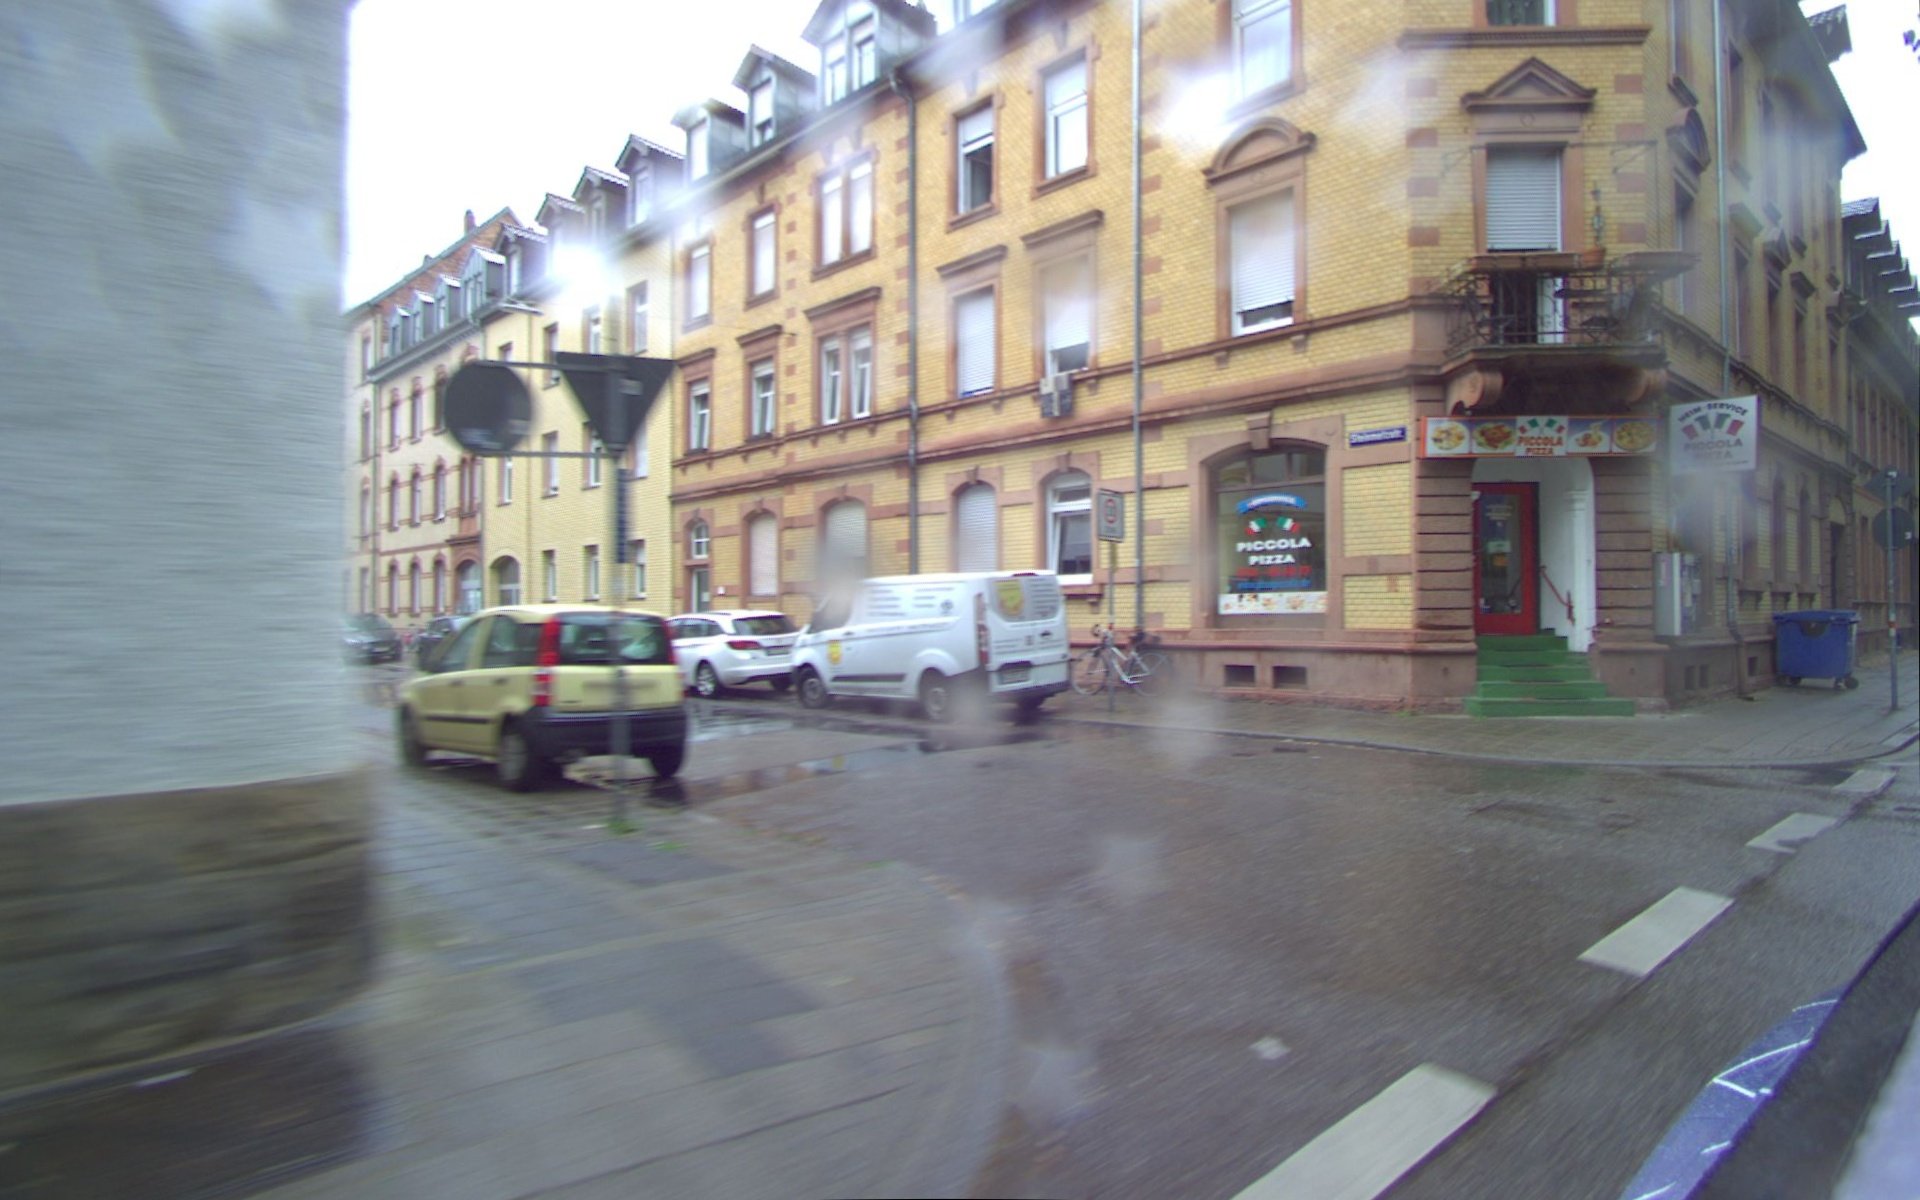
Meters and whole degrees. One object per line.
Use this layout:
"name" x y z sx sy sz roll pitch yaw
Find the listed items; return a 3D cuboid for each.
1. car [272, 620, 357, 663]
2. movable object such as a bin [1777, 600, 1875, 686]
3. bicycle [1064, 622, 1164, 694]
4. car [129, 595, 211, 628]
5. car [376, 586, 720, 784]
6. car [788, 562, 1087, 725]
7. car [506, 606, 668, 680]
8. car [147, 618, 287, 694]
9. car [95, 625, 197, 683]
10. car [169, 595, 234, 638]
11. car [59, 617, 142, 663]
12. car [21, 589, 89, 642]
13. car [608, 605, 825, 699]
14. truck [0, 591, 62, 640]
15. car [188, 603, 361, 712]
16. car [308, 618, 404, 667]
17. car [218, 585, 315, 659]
"car" -24.680 1.540 38.621 1.903 1.505 4.230 0 -1 -45
"movable object such as a bin" 14.545 0.705 17.000 1.343 1.318 1.023 2 1 -41
"bicycle" 2.333 0.857 15.419 1.537 1.020 0.427 0 -2 44
"car" -51.437 0.764 66.010 3.921 2.039 2.001 2 -1 -32
"car" -3.944 0.708 9.488 3.354 1.506 1.690 -1 -4 43
"car" -0.453 0.526 14.557 1.903 1.968 4.231 -3 1 -44
"car" -8.535 0.901 22.967 1.903 1.505 4.230 0 -1 -45
"car" -15.310 1.110 20.790 3.719 1.410 1.689 -1 -4 45
"car" -22.324 1.457 27.713 3.988 1.428 1.689 -1 -4 45
"car" -37.751 0.795 50.364 3.988 2.039 1.968 0 -2 45
"car" -27.852 1.278 32.754 3.589 1.410 1.689 -1 -4 45
"car" -42.689 0.749 47.709 4.343 2.356 1.960 -1 -4 44
"car" -4.581 0.875 18.688 4.226 1.505 1.904 -1 0 43
"truck" -62.550 1.025 64.317 8.192 3.007 2.763 -1 -2 -3
"car" -11.759 0.936 17.276 3.719 1.644 1.689 -1 -4 45
"car" -20.817 1.409 34.803 1.903 1.505 4.230 0 -1 -45
"car" -29.257 0.890 42.588 5.734 2.906 2.310 -1 -1 44
